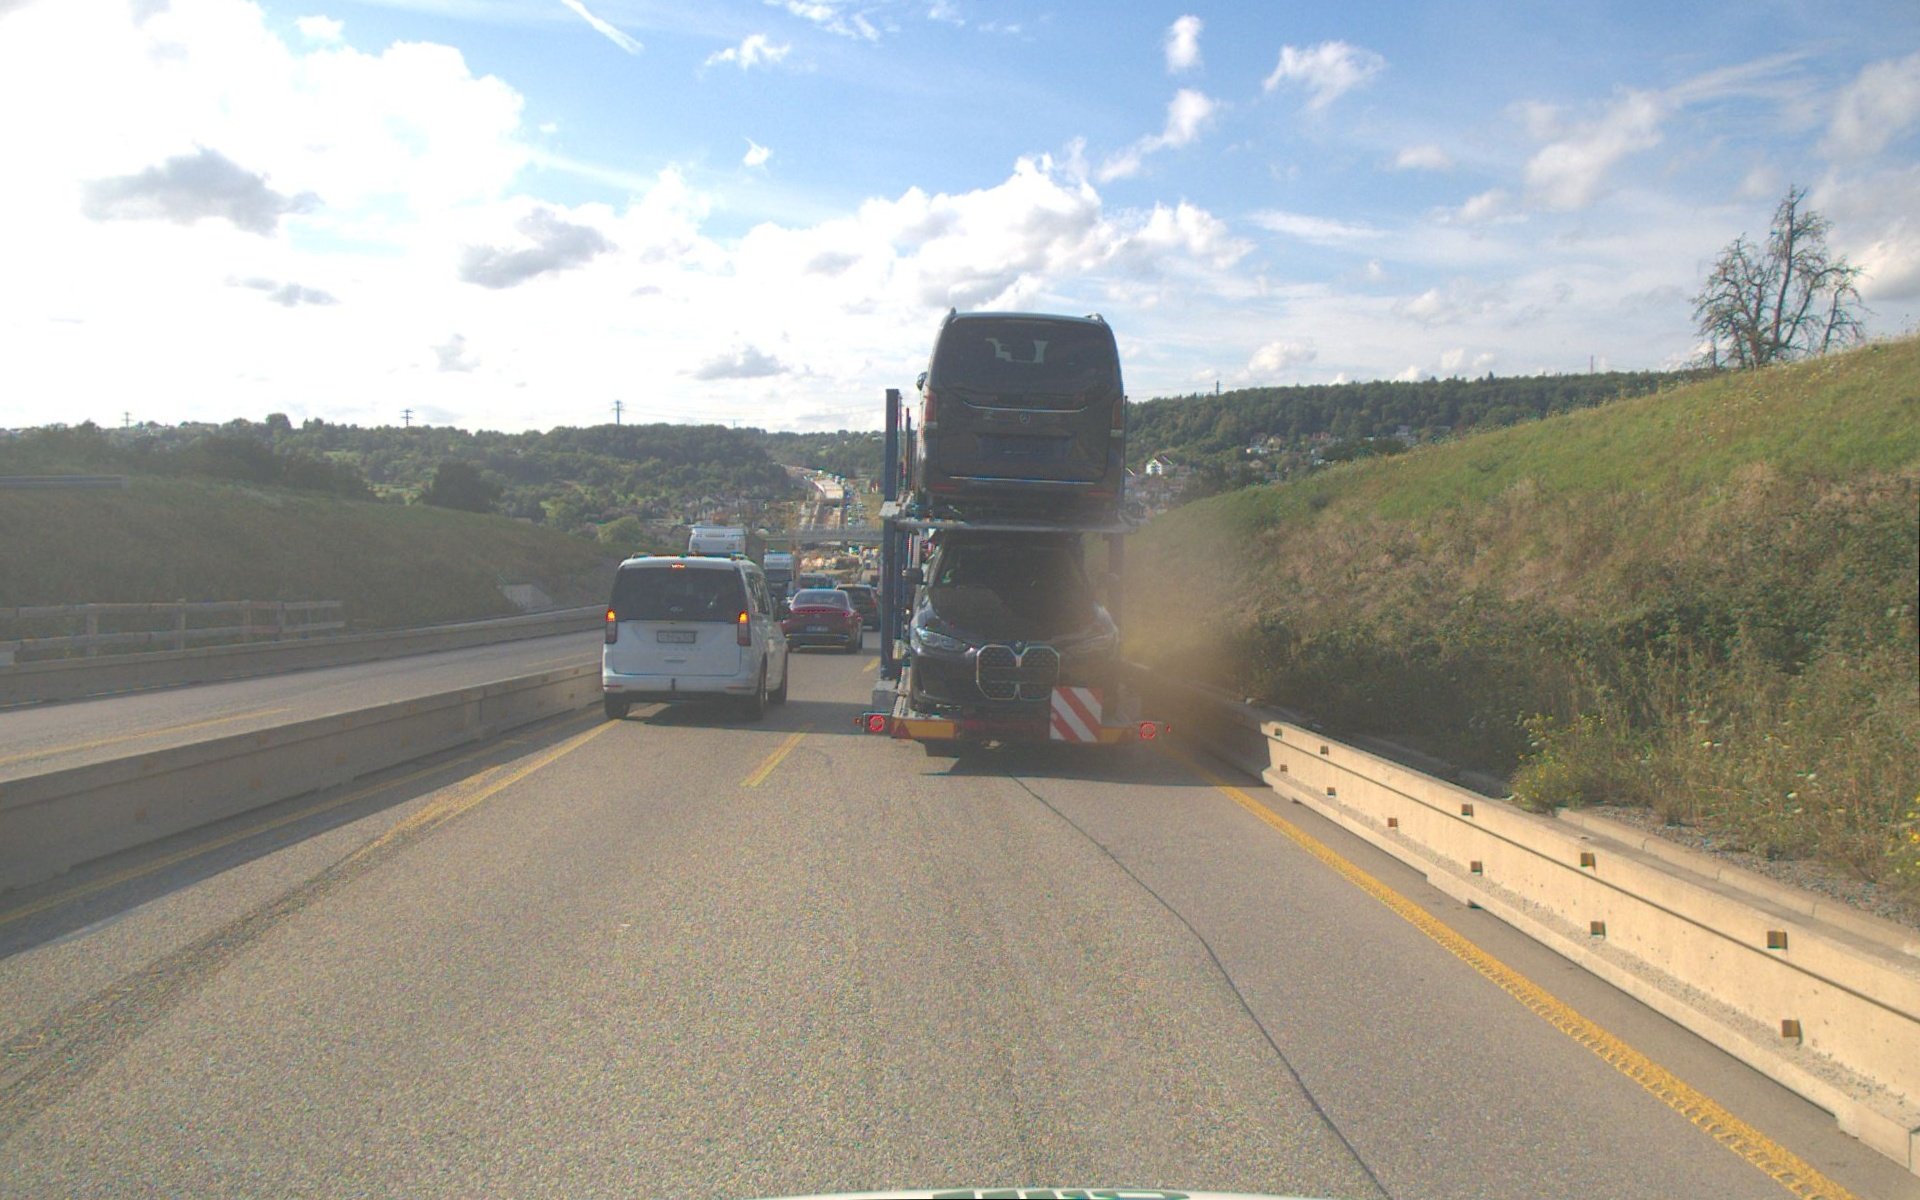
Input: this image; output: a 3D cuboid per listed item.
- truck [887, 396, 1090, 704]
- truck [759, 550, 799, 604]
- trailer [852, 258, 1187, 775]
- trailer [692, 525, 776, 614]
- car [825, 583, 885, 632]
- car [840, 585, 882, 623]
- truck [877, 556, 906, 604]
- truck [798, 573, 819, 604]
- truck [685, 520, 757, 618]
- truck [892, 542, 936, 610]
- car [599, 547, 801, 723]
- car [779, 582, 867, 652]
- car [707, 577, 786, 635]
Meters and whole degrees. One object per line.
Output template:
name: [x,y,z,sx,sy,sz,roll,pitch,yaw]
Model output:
truck: [0.342,-0.673,24.610,2.623,3.990,6.026,0,0,-1]
truck: [-14.584,-1.853,134.090,2.586,4.171,10.812,0,0,-3]
trailer: [0.372,-0.704,18.919,2.653,4.099,11.417,0,0,-1]
trailer: [-10.953,-1.421,81.416,2.562,4.023,13.870,0,0,-2]
car: [-3.732,0.244,59.284,1.953,1.653,4.748,1,0,-2]
car: [-4.318,0.158,72.827,1.760,1.624,4.740,1,0,-3]
truck: [-7.029,-2.018,168.603,2.807,4.650,11.650,0,0,-3]
truck: [-20.377,-1.563,223.038,2.586,4.171,10.809,0,0,-4]
truck: [-10.743,-1.362,74.781,2.562,4.226,5.779,0,0,-2]
truck: [-3.412,-1.714,119.898,2.807,4.650,11.650,0,0,-3]
car: [-3.027,0.354,20.159,1.786,1.855,4.455,2,1,-1]
car: [-3.258,0.365,40.128,1.786,1.518,4.683,2,1,-1]
car: [-7.094,0.150,55.394,1.908,1.777,5.579,1,1,0]
